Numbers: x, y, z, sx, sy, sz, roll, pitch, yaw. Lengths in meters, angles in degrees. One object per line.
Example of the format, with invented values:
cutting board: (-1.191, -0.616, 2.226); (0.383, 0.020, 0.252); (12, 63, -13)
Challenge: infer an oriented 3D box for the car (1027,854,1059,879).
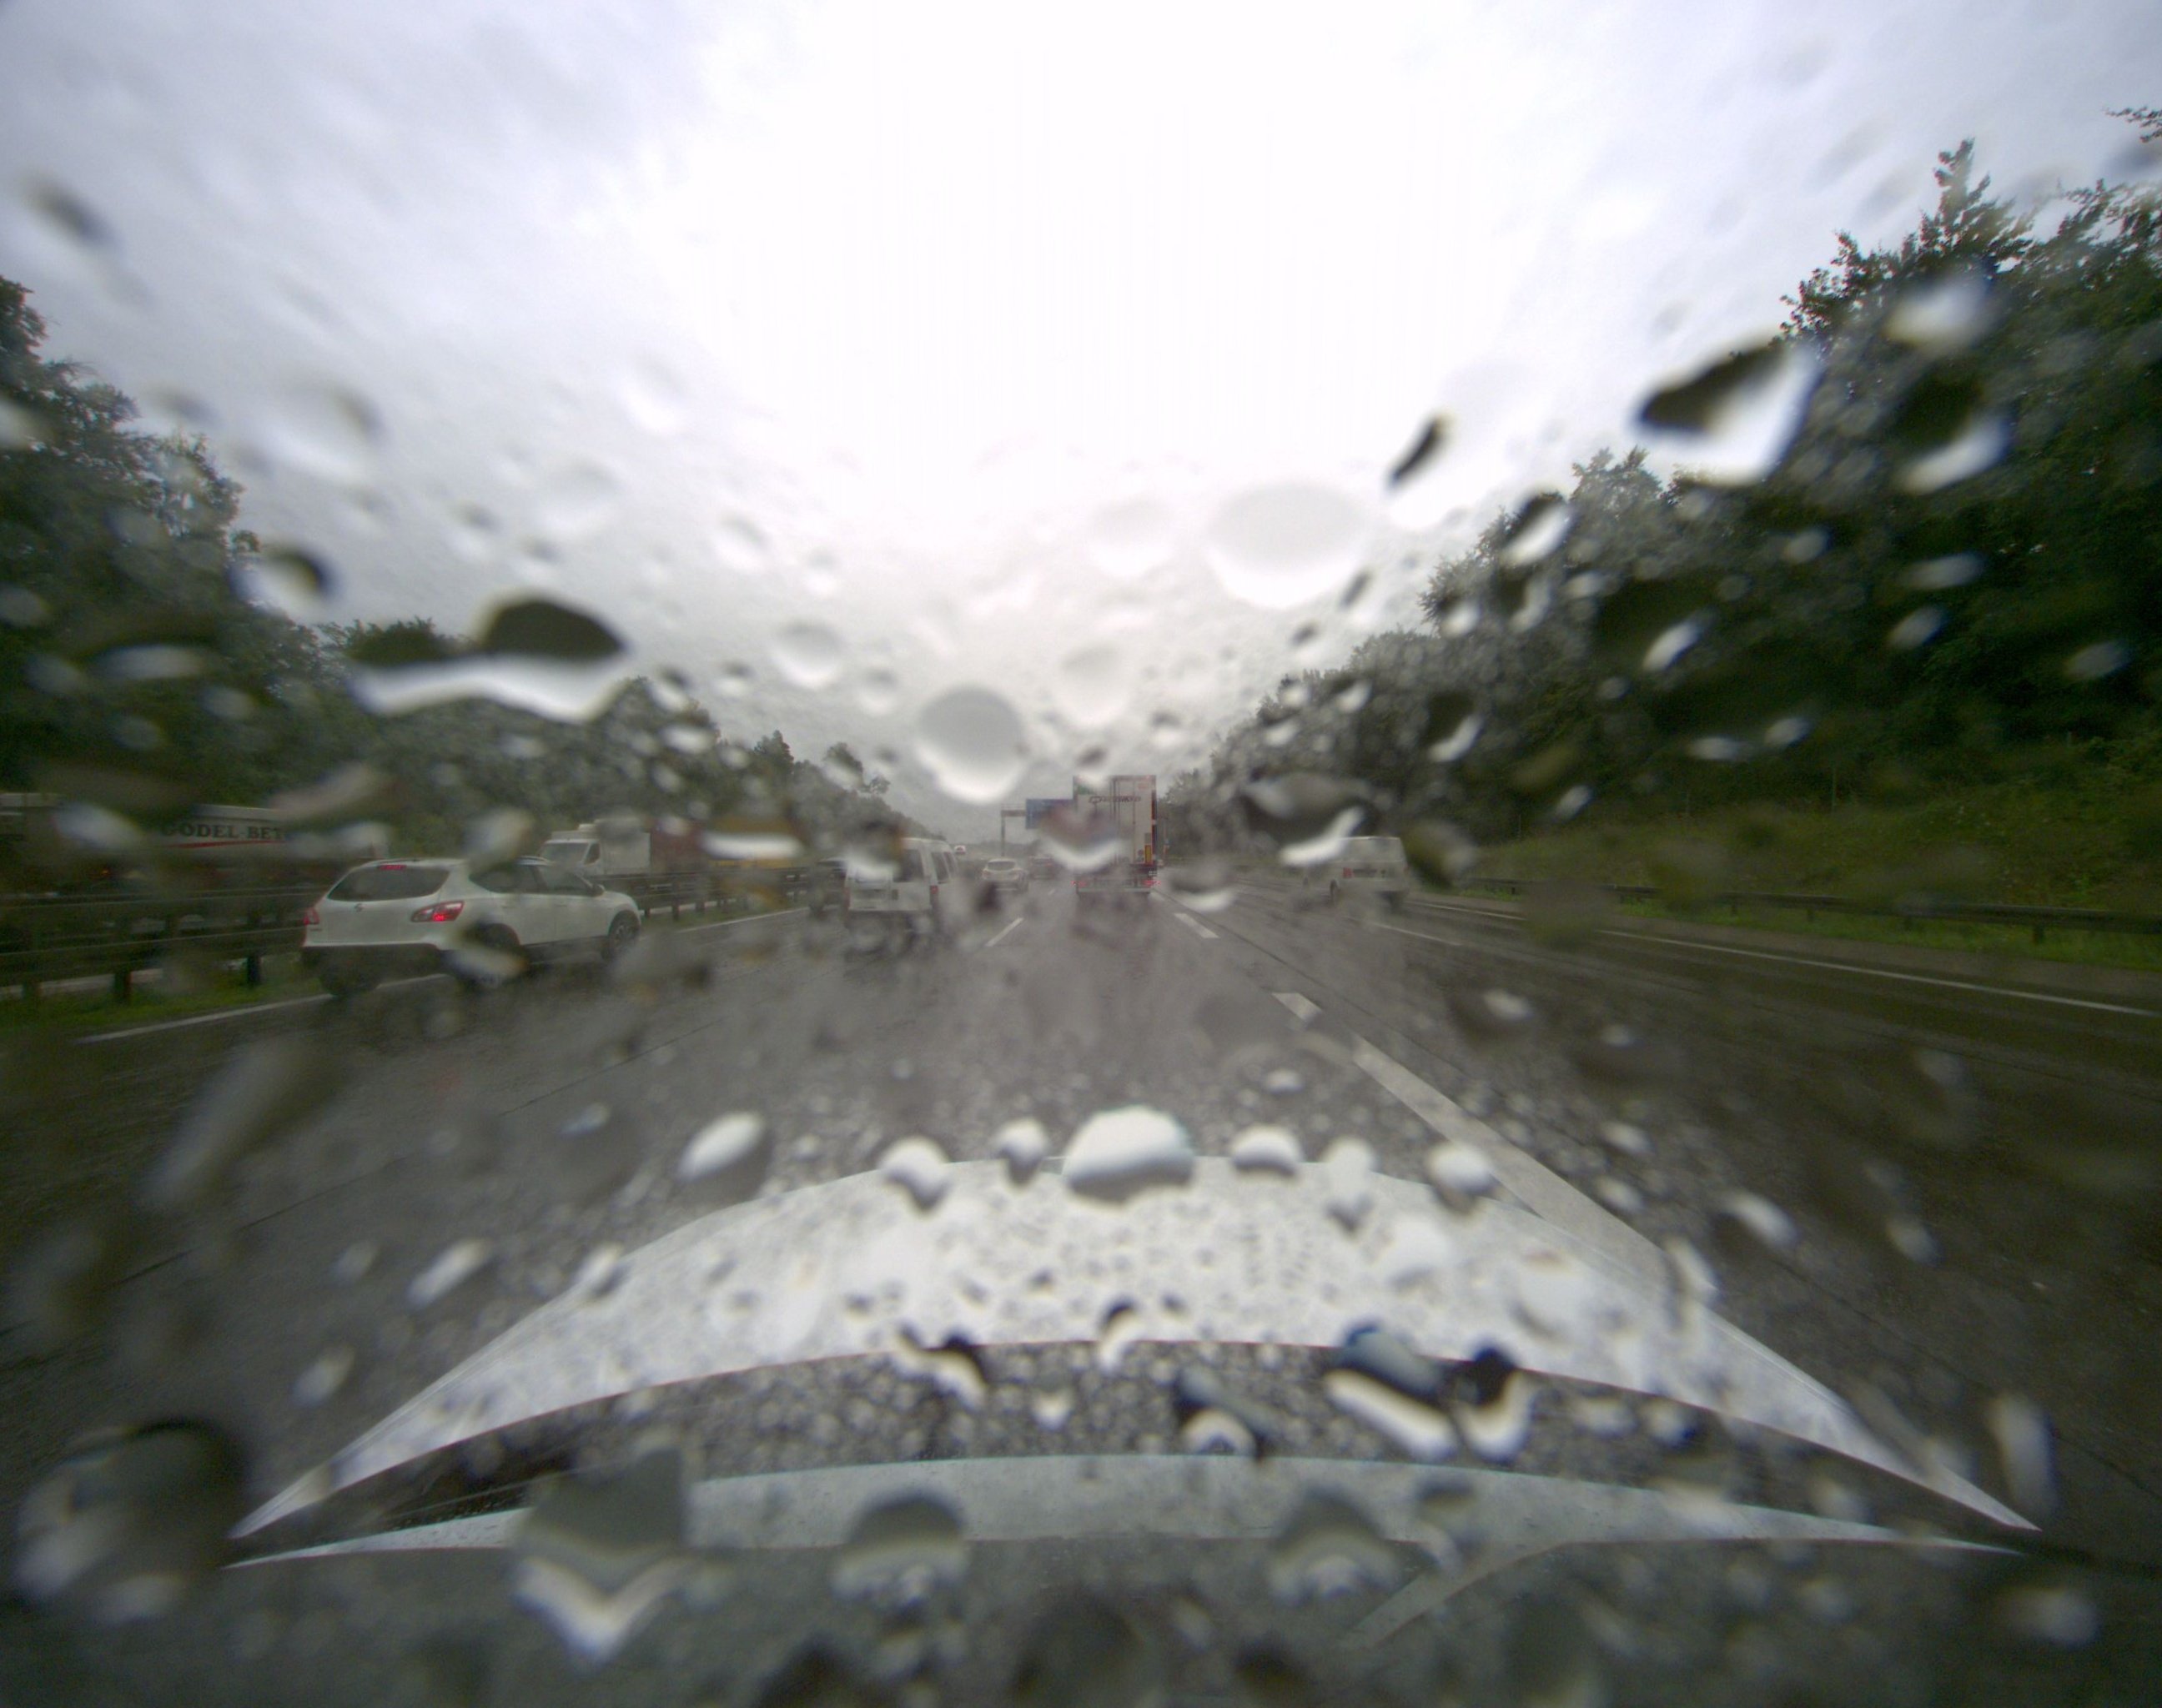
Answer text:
car: (-2.638, 0.836, 57.033); (1.838, 1.591, 4.469); (-1, 0, 2)

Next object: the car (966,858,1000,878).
car: (-7.033, 1.015, 58.945); (1.839, 1.330, 4.467); (-1, 0, 1)

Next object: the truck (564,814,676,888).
truck: (-25.697, -0.171, 45.766); (2.695, 3.818, 6.263); (-1, 0, 0)

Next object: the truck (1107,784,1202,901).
truck: (2.594, -0.321, 30.592); (2.860, 3.562, 11.312); (-1, 0, 3)

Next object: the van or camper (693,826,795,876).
van or camper: (-21.878, -0.158, 53.524); (2.832, 2.978, 8.788); (-1, 0, 1)

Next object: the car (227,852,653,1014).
car: (-7.644, 0.795, 10.452); (1.839, 1.591, 4.468); (-1, 0, 1)

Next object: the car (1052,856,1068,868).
car: (-2.611, 0.979, 101.219); (1.839, 1.330, 4.467); (-1, 0, 1)

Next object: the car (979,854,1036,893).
car: (-3.176, 0.820, 35.853); (1.837, 1.591, 4.077); (-1, 0, 4)

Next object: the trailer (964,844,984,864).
trailer: (-22.597, -0.029, 172.141); (2.533, 4.025, 13.845); (0, 0, -1)

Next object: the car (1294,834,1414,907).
car: (7.851, 0.430, 23.925); (1.983, 1.921, 4.768); (-1, 0, 1)

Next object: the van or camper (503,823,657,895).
van or camper: (-19.587, 0.153, 32.311); (2.190, 2.547, 6.119); (-2, 0, 0)

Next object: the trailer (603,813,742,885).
trailer: (-25.649, -0.277, 52.213); (2.610, 4.025, 12.373); (0, 0, 0)

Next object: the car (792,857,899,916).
car: (-7.062, 0.910, 24.912); (1.838, 1.591, 4.468); (-1, 0, 2)

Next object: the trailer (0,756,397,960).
trailer: (-21.988, 0.109, 19.847); (2.368, 3.954, 9.425); (-2, 0, 2)

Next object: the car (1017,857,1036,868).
car: (-6.608, 1.016, 99.004); (1.839, 1.330, 4.467); (-1, 0, 1)

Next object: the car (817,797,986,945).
car: (-3.431, 0.281, 16.721); (2.205, 2.573, 5.017); (-1, 0, 1)

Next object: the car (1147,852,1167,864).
car: (8.766, 0.425, 94.158); (1.786, 1.407, 4.223); (-1, 0, -3)

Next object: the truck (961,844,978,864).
truck: (-22.487, 0.047, 164.549); (2.532, 4.025, 6.323); (-1, 0, 0)

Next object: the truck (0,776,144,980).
truck: (-22.139, 0.498, 14.836); (2.368, 3.954, 6.539); (-2, 0, 2)
